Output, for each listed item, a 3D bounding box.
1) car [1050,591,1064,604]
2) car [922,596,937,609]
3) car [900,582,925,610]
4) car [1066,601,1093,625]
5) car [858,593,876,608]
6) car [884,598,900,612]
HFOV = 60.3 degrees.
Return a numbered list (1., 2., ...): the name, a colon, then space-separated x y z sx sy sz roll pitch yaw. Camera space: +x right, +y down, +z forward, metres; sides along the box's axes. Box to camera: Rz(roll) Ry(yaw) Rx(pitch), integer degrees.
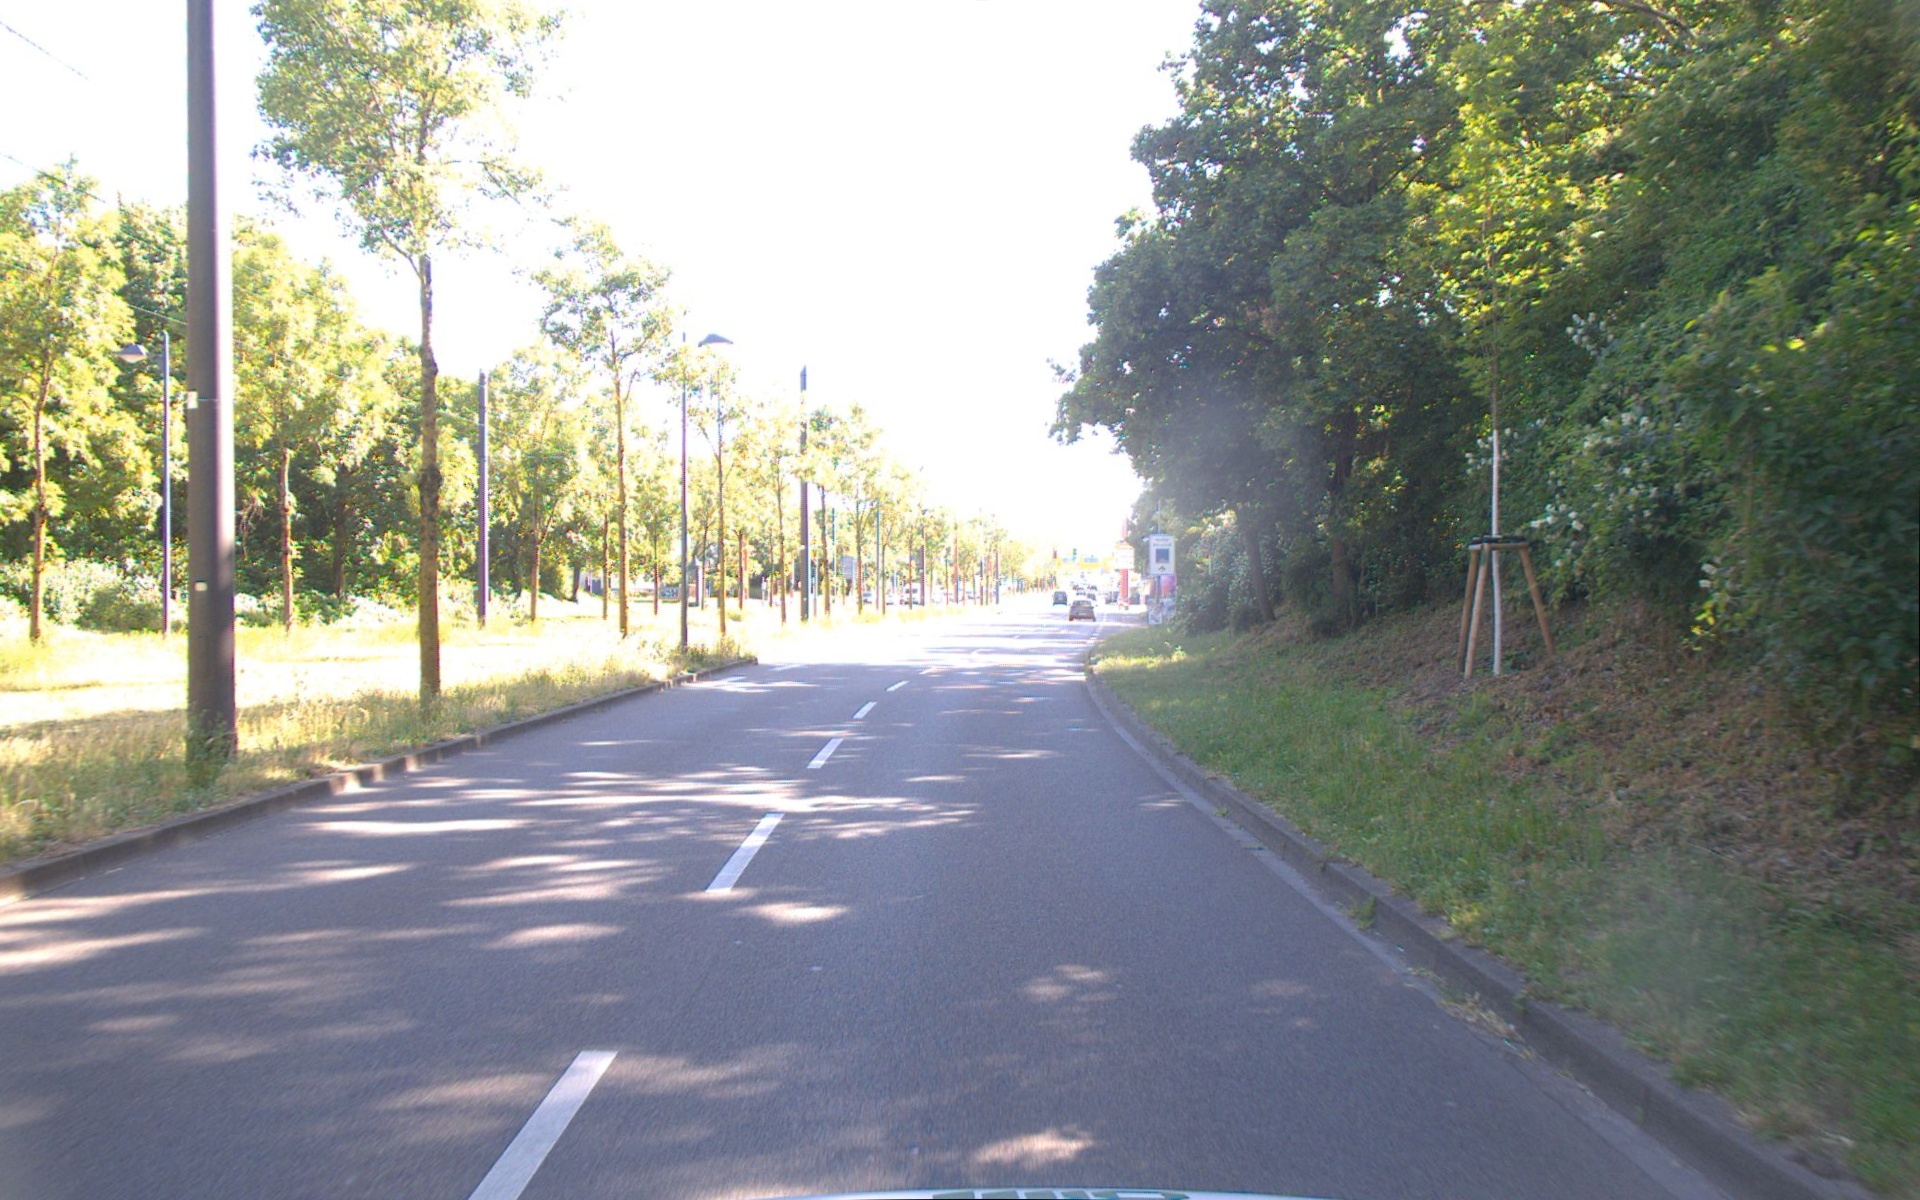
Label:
1. car: 11.678 -0.293 198.833 1.599 1.524 4.237 0 0 6
2. car: -4.132 0.348 224.593 1.597 1.710 4.194 0 0 3
3. car: -5.771 -0.471 202.136 2.413 3.296 6.137 1 0 3
4. car: 7.821 0.833 107.898 1.599 1.524 4.237 0 0 6
5. car: -10.732 0.056 190.986 1.597 1.710 4.194 0 0 3
6. car: -8.642 0.595 211.435 1.597 1.710 4.194 0 0 3
